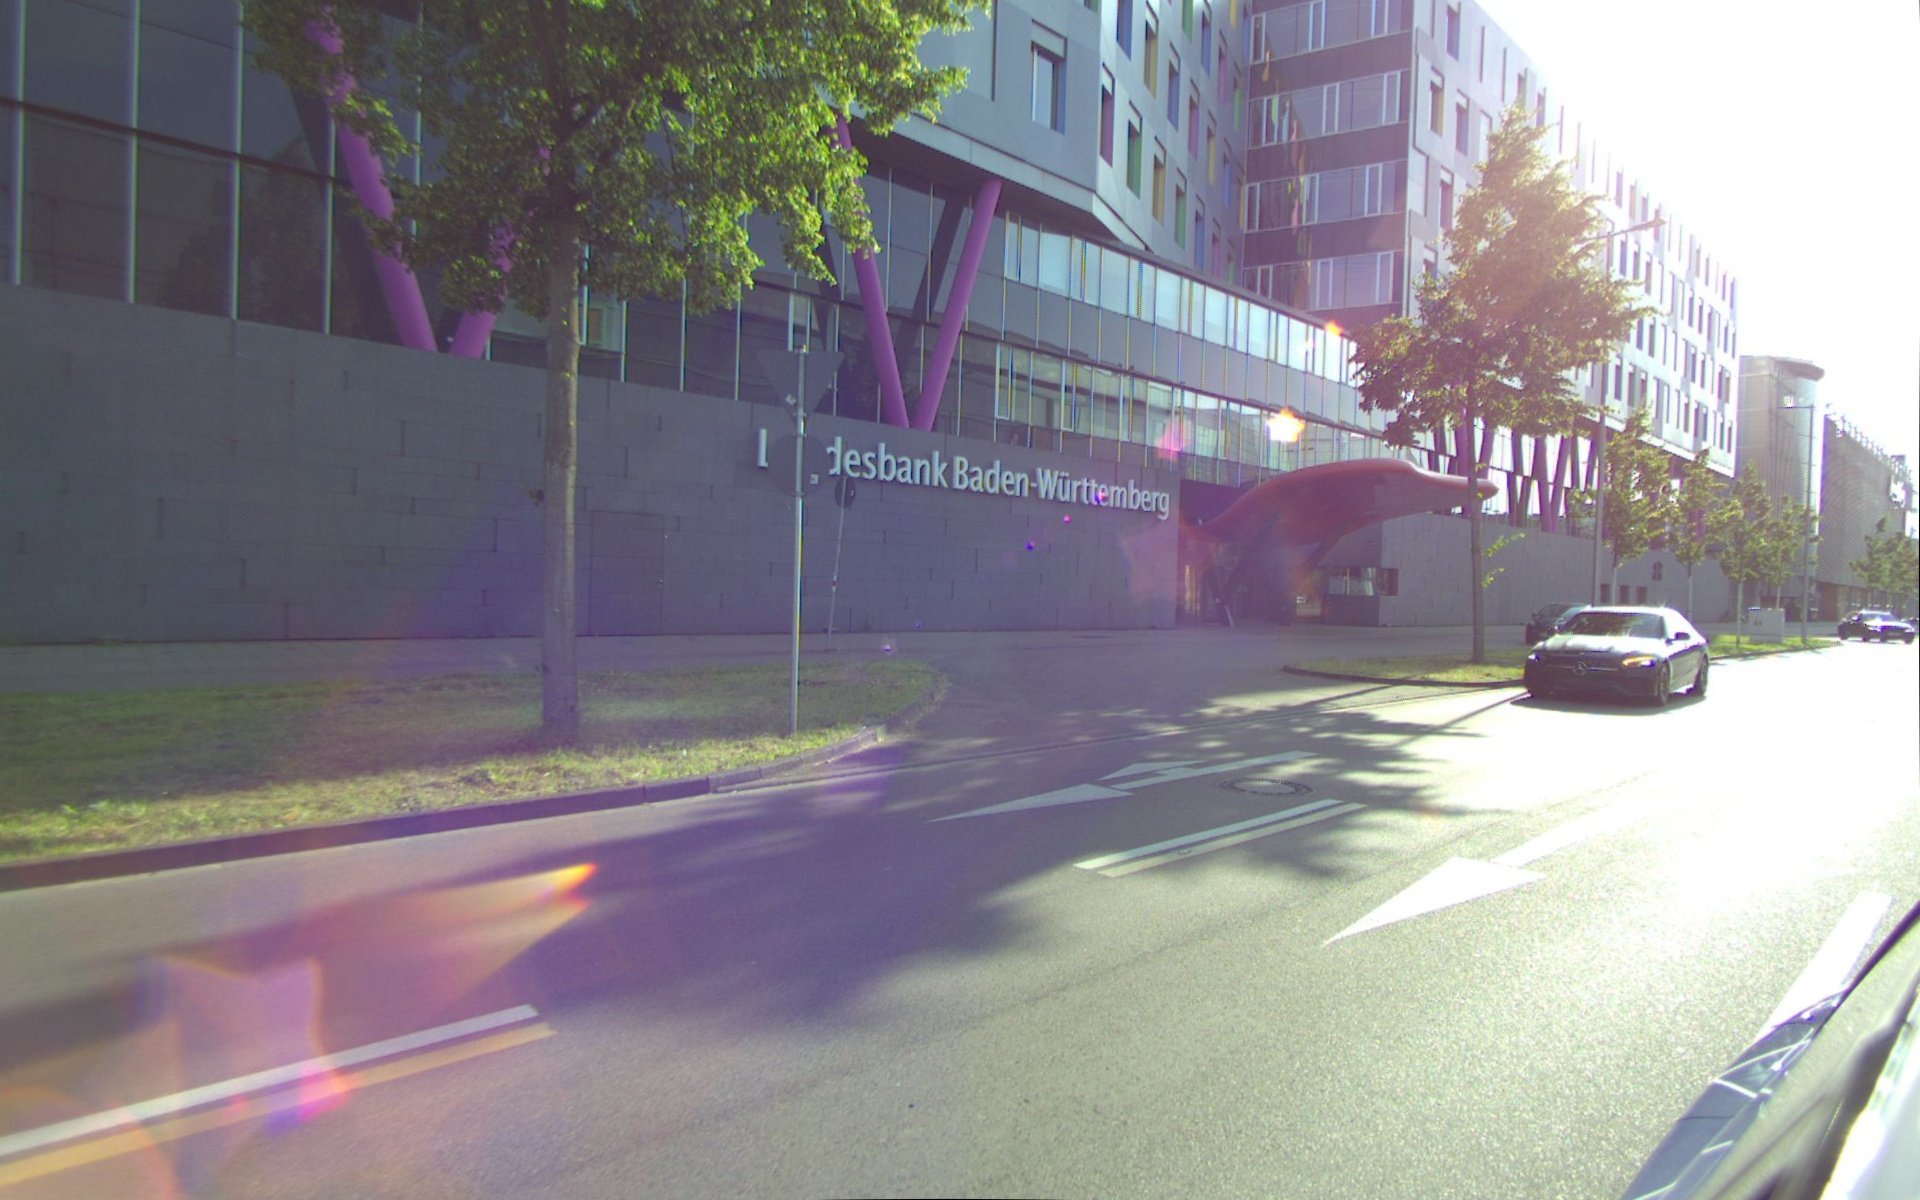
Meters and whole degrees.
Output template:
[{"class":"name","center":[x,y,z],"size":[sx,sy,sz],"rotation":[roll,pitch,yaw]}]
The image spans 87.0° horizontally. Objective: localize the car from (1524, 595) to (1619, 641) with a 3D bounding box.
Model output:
[{"class":"car","center":[20.808,0.615,34.370],"size":[4.127,1.407,1.694],"rotation":[1,1,-43]}]

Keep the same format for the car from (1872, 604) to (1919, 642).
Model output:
[{"class":"car","center":[44.831,1.051,48.180],"size":[1.887,1.443,4.411],"rotation":[2,4,39]}]

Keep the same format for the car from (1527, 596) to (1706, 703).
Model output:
[{"class":"car","center":[10.779,0.727,16.476],"size":[1.837,1.468,4.487],"rotation":[1,0,41]}]
